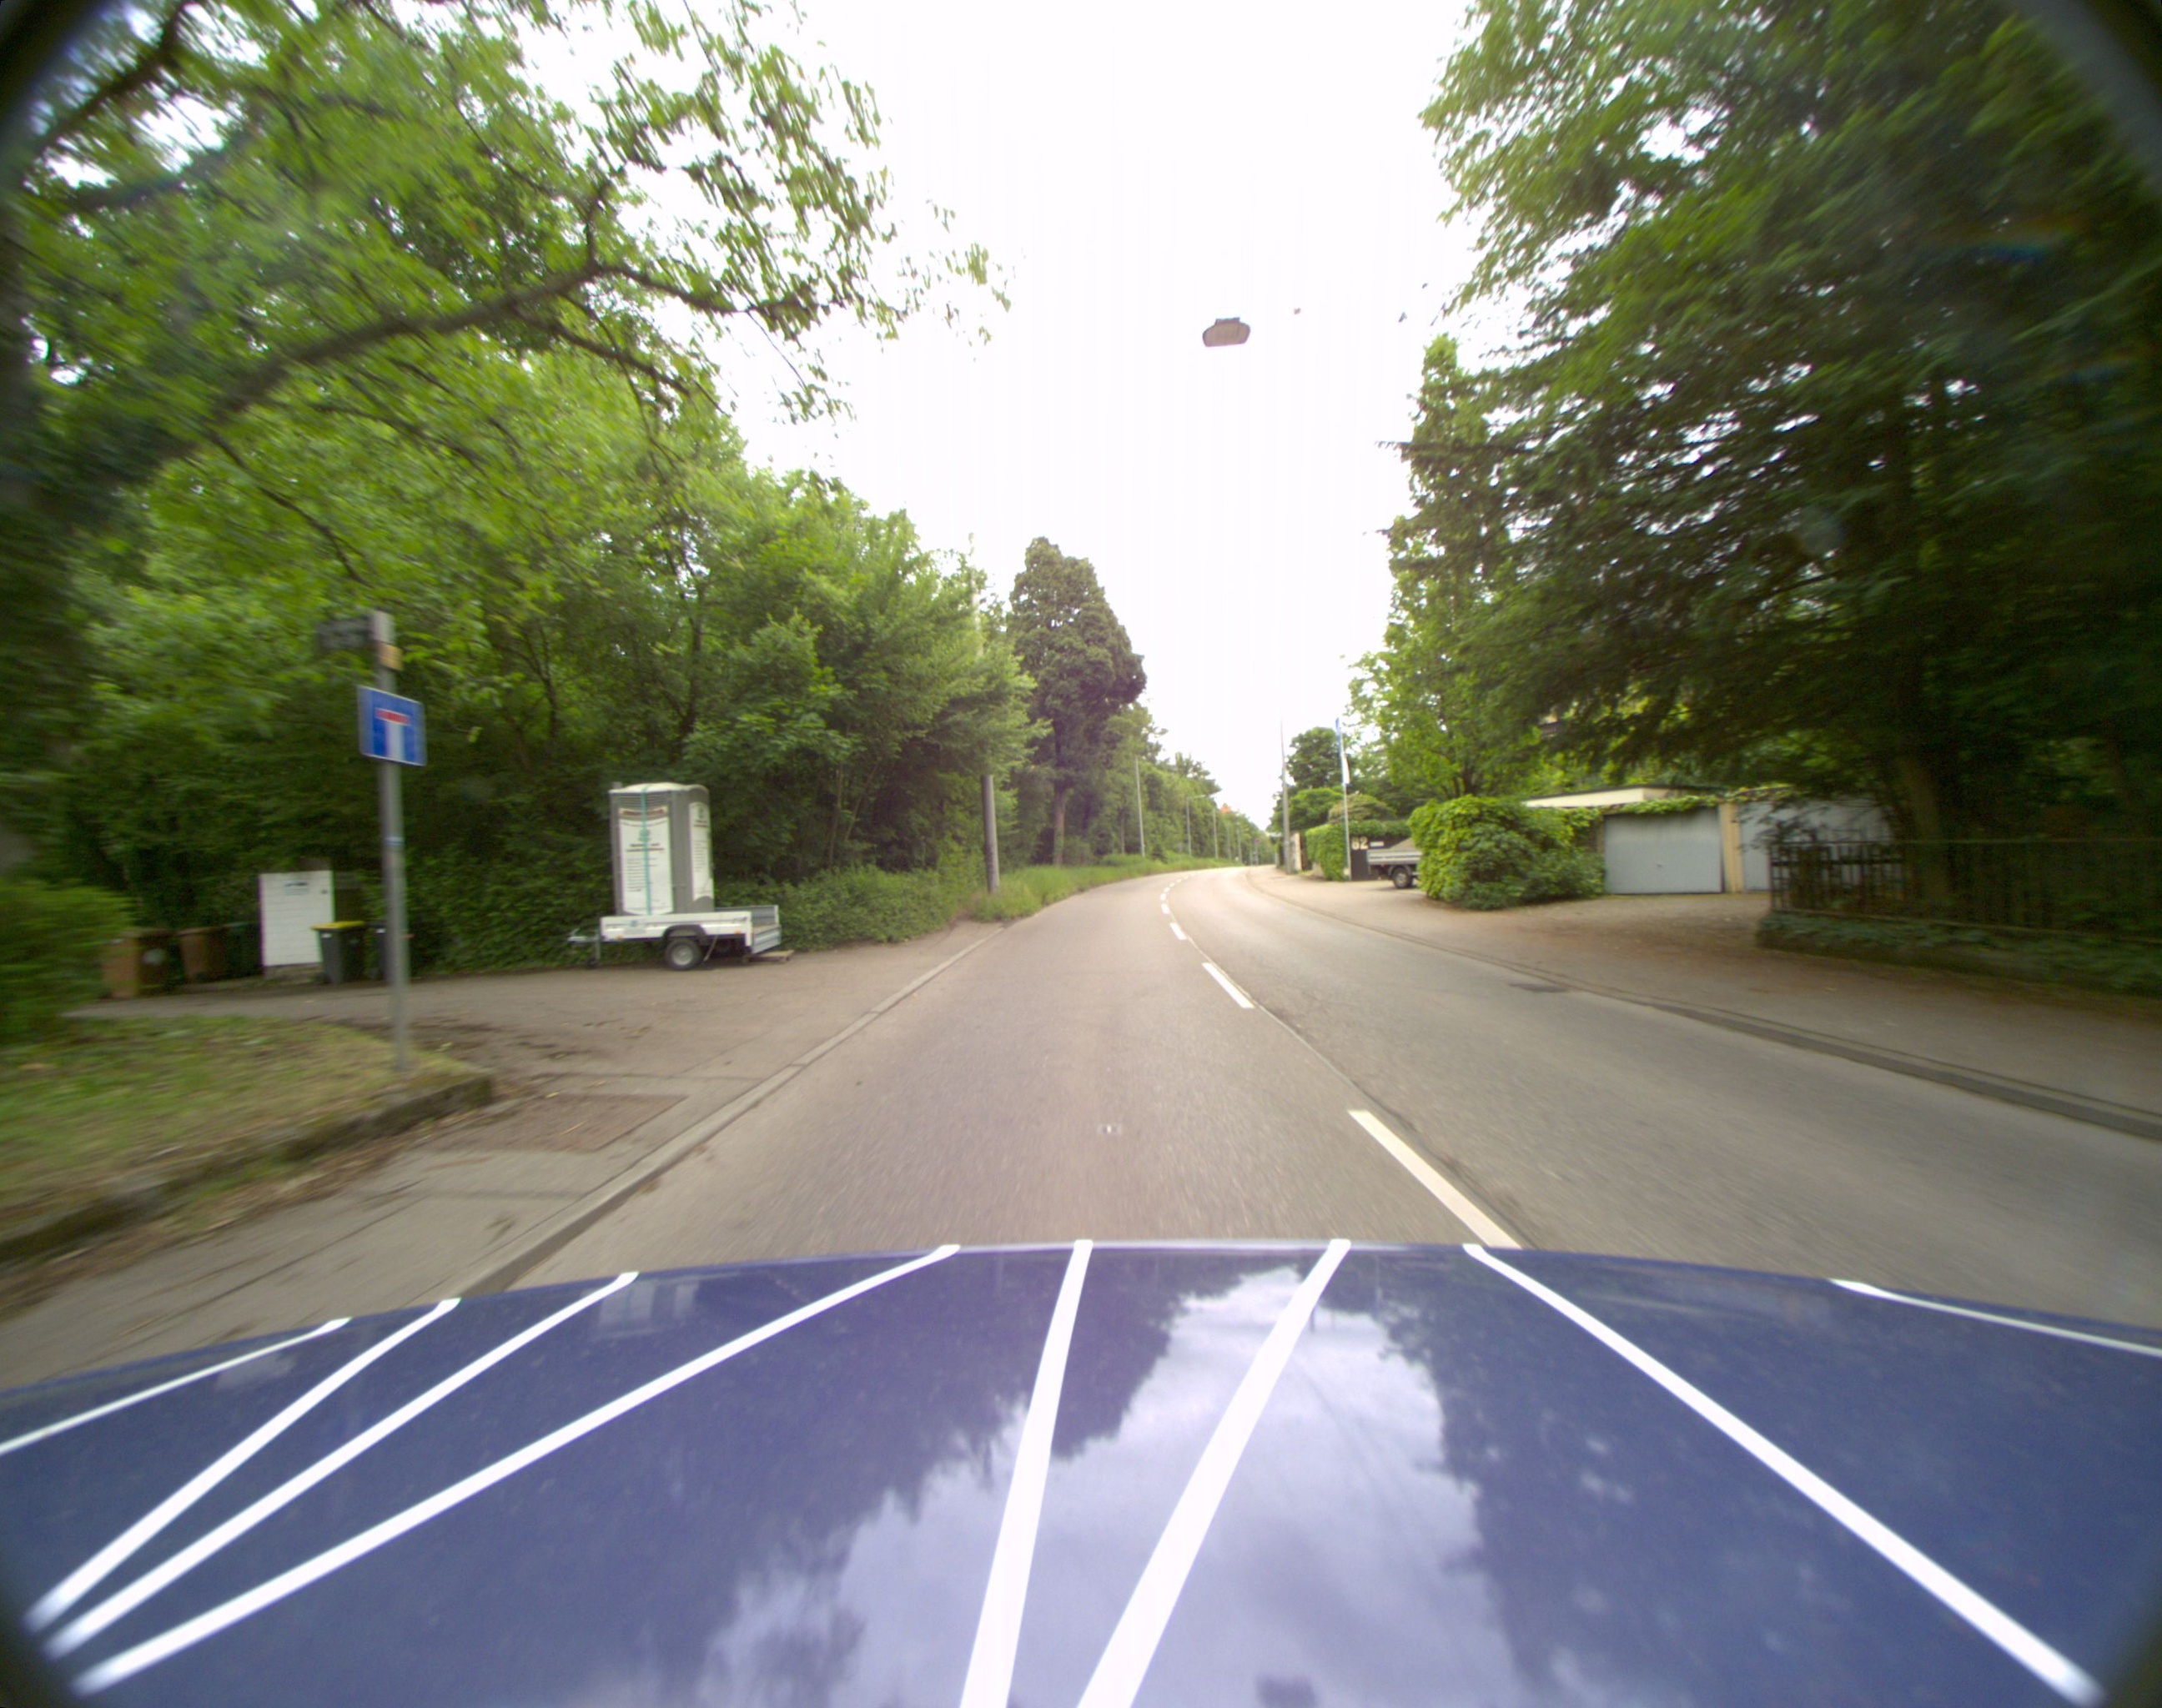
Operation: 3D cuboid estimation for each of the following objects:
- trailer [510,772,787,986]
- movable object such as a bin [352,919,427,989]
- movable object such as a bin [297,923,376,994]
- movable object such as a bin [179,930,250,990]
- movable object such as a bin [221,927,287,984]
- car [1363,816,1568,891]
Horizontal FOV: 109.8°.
[{"bbox_3d":[-6.305,0.350,11.338,3.124,2.883,1.593,-2,1,0],"label":"trailer"},{"bbox_3d":[-10.677,1.536,11.751,0.535,0.946,0.652,-5,1,-14],"label":"movable object such as a bin"},{"bbox_3d":[-11.351,1.578,11.599,0.535,0.946,0.652,-5,1,-14],"label":"movable object such as a bin"},{"bbox_3d":[-14.328,1.750,12.580,0.522,0.907,0.534,-2,1,0],"label":"movable object such as a bin"},{"bbox_3d":[-14.339,1.746,13.180,0.522,0.907,0.534,-2,1,0],"label":"movable object such as a bin"},{"bbox_3d":[12.007,0.009,24.192,2.429,2.060,5.350,-3,0,-28],"label":"car"}]
